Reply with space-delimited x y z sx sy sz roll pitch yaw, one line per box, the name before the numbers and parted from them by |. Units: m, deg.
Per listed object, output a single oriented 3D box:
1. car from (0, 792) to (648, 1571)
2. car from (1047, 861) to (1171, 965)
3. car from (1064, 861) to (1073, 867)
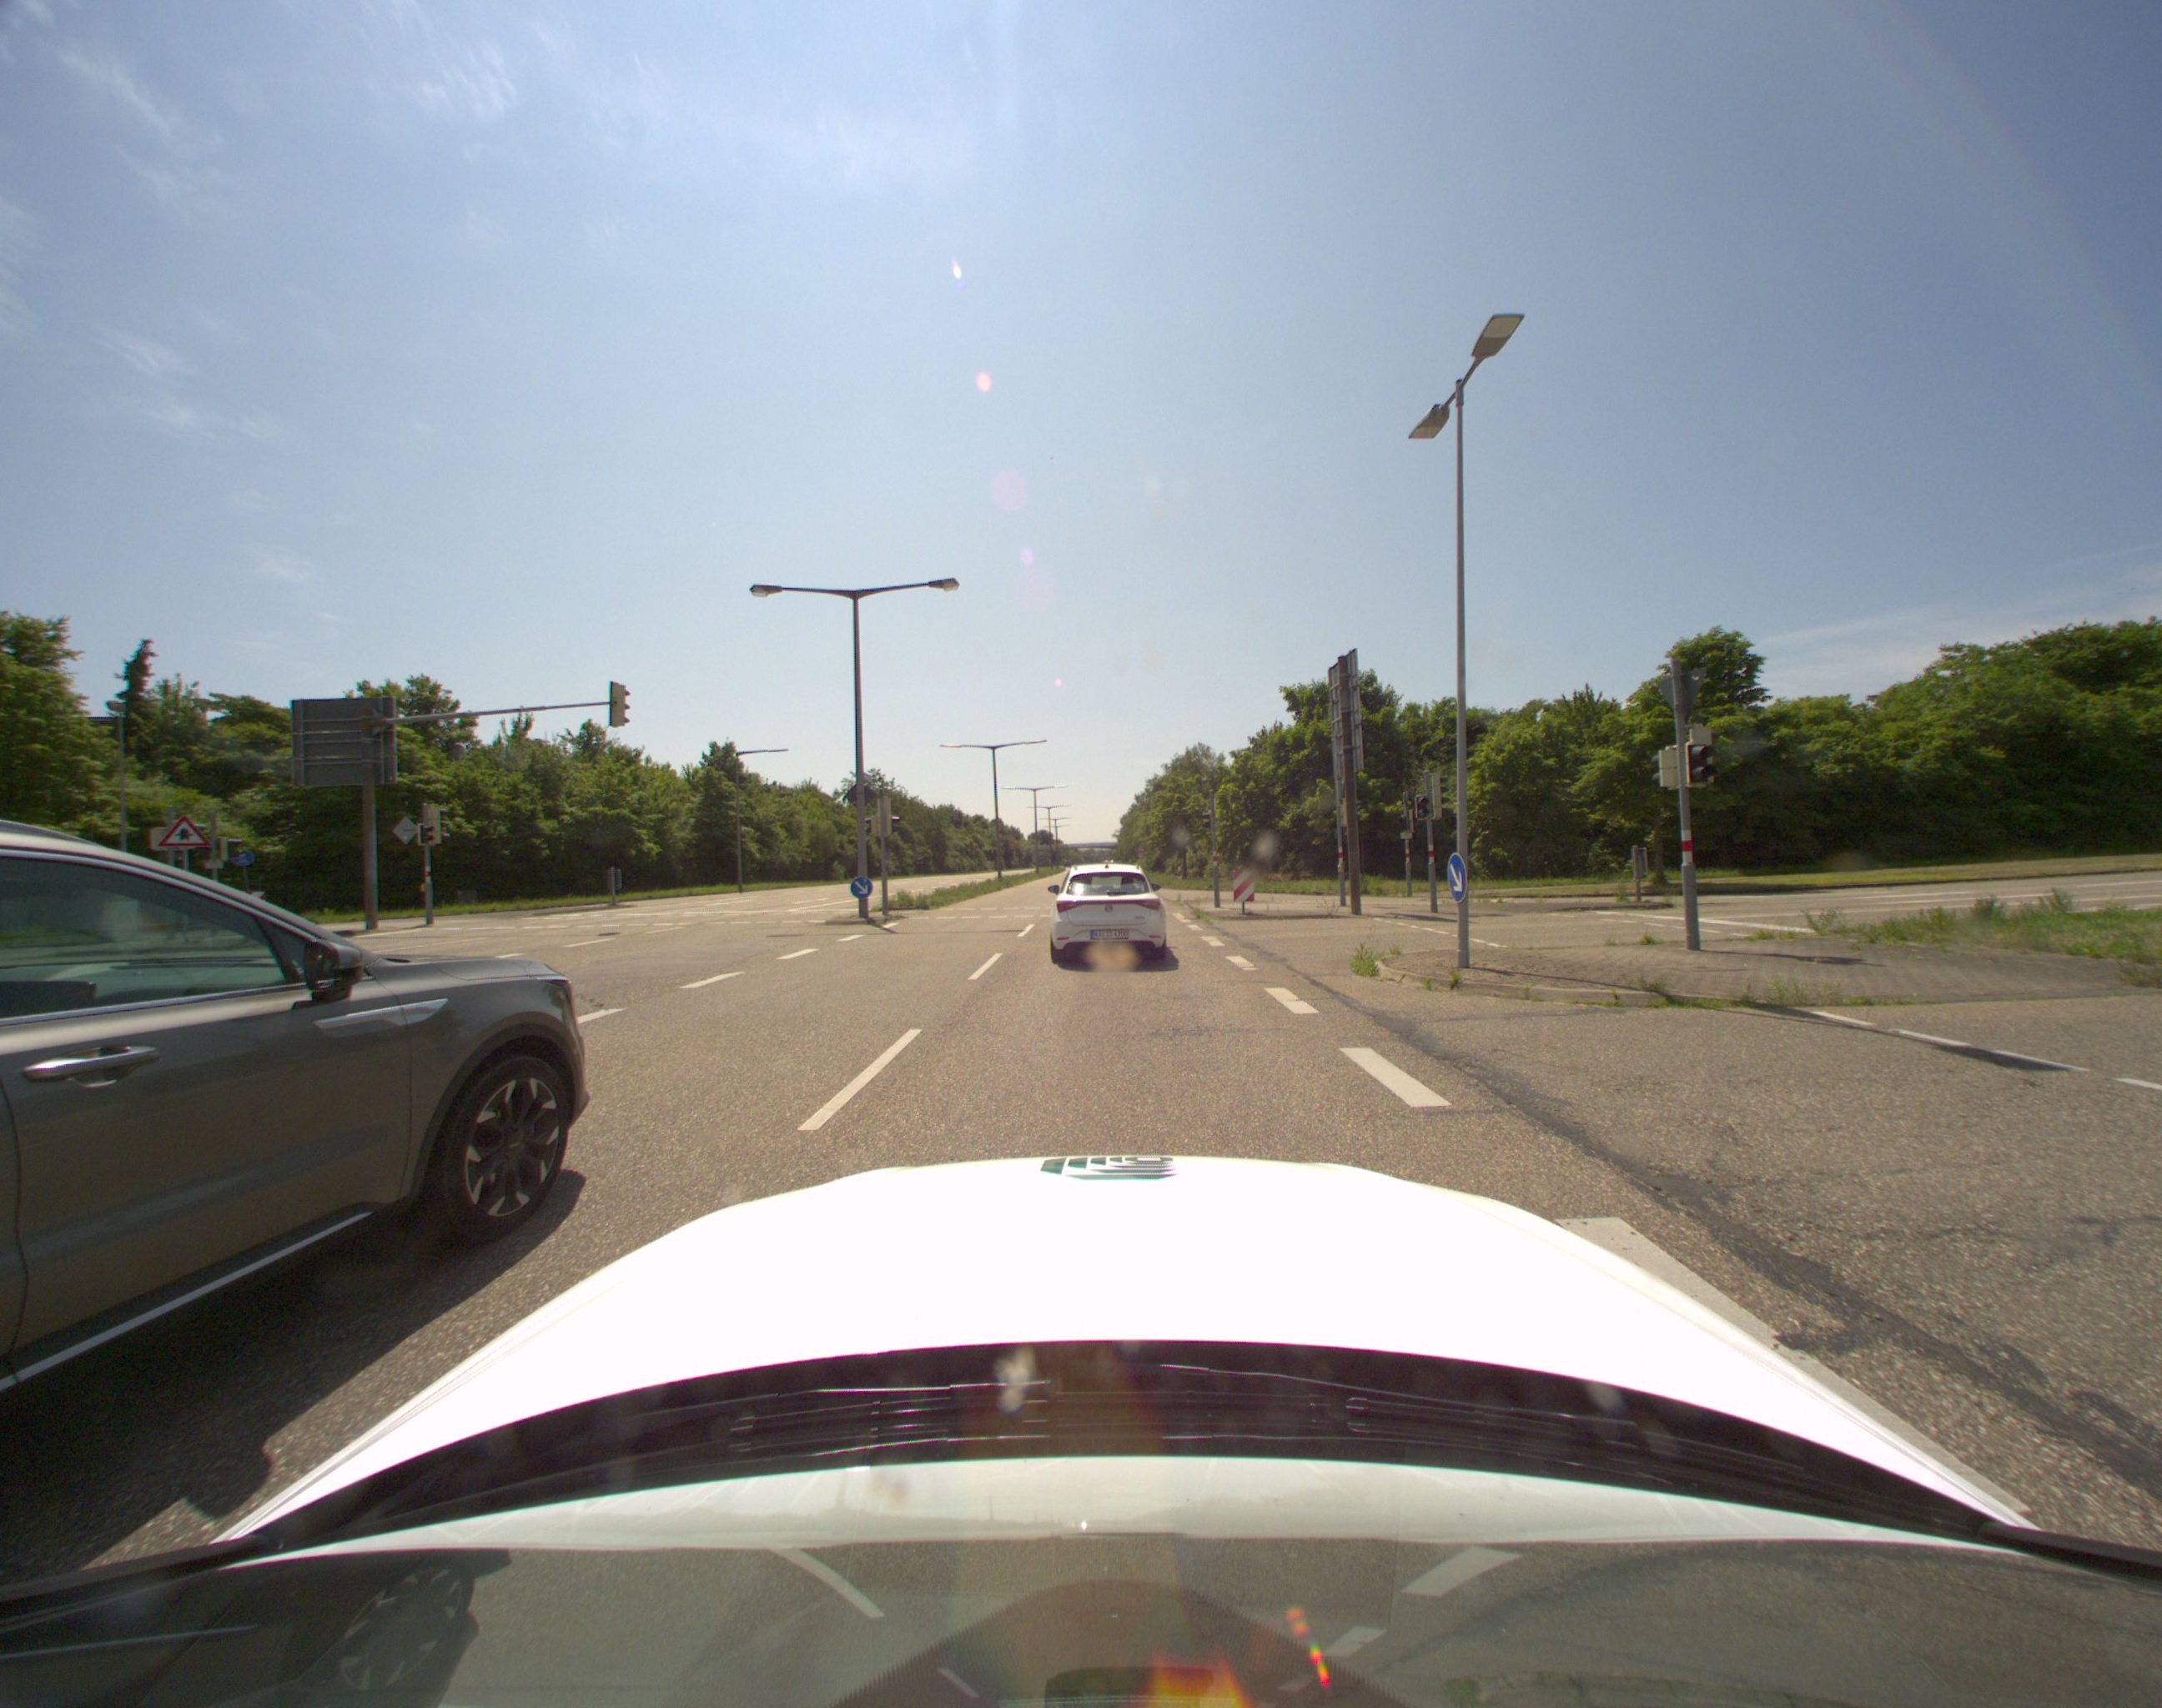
car | -3.218 0.724 1.869 1.797 1.662 4.646 -2 -1 2
car | 0.452 0.855 13.167 1.728 1.429 3.696 0 -1 2
car | -3.305 2.678 217.177 1.847 1.709 4.004 -3 -1 4
